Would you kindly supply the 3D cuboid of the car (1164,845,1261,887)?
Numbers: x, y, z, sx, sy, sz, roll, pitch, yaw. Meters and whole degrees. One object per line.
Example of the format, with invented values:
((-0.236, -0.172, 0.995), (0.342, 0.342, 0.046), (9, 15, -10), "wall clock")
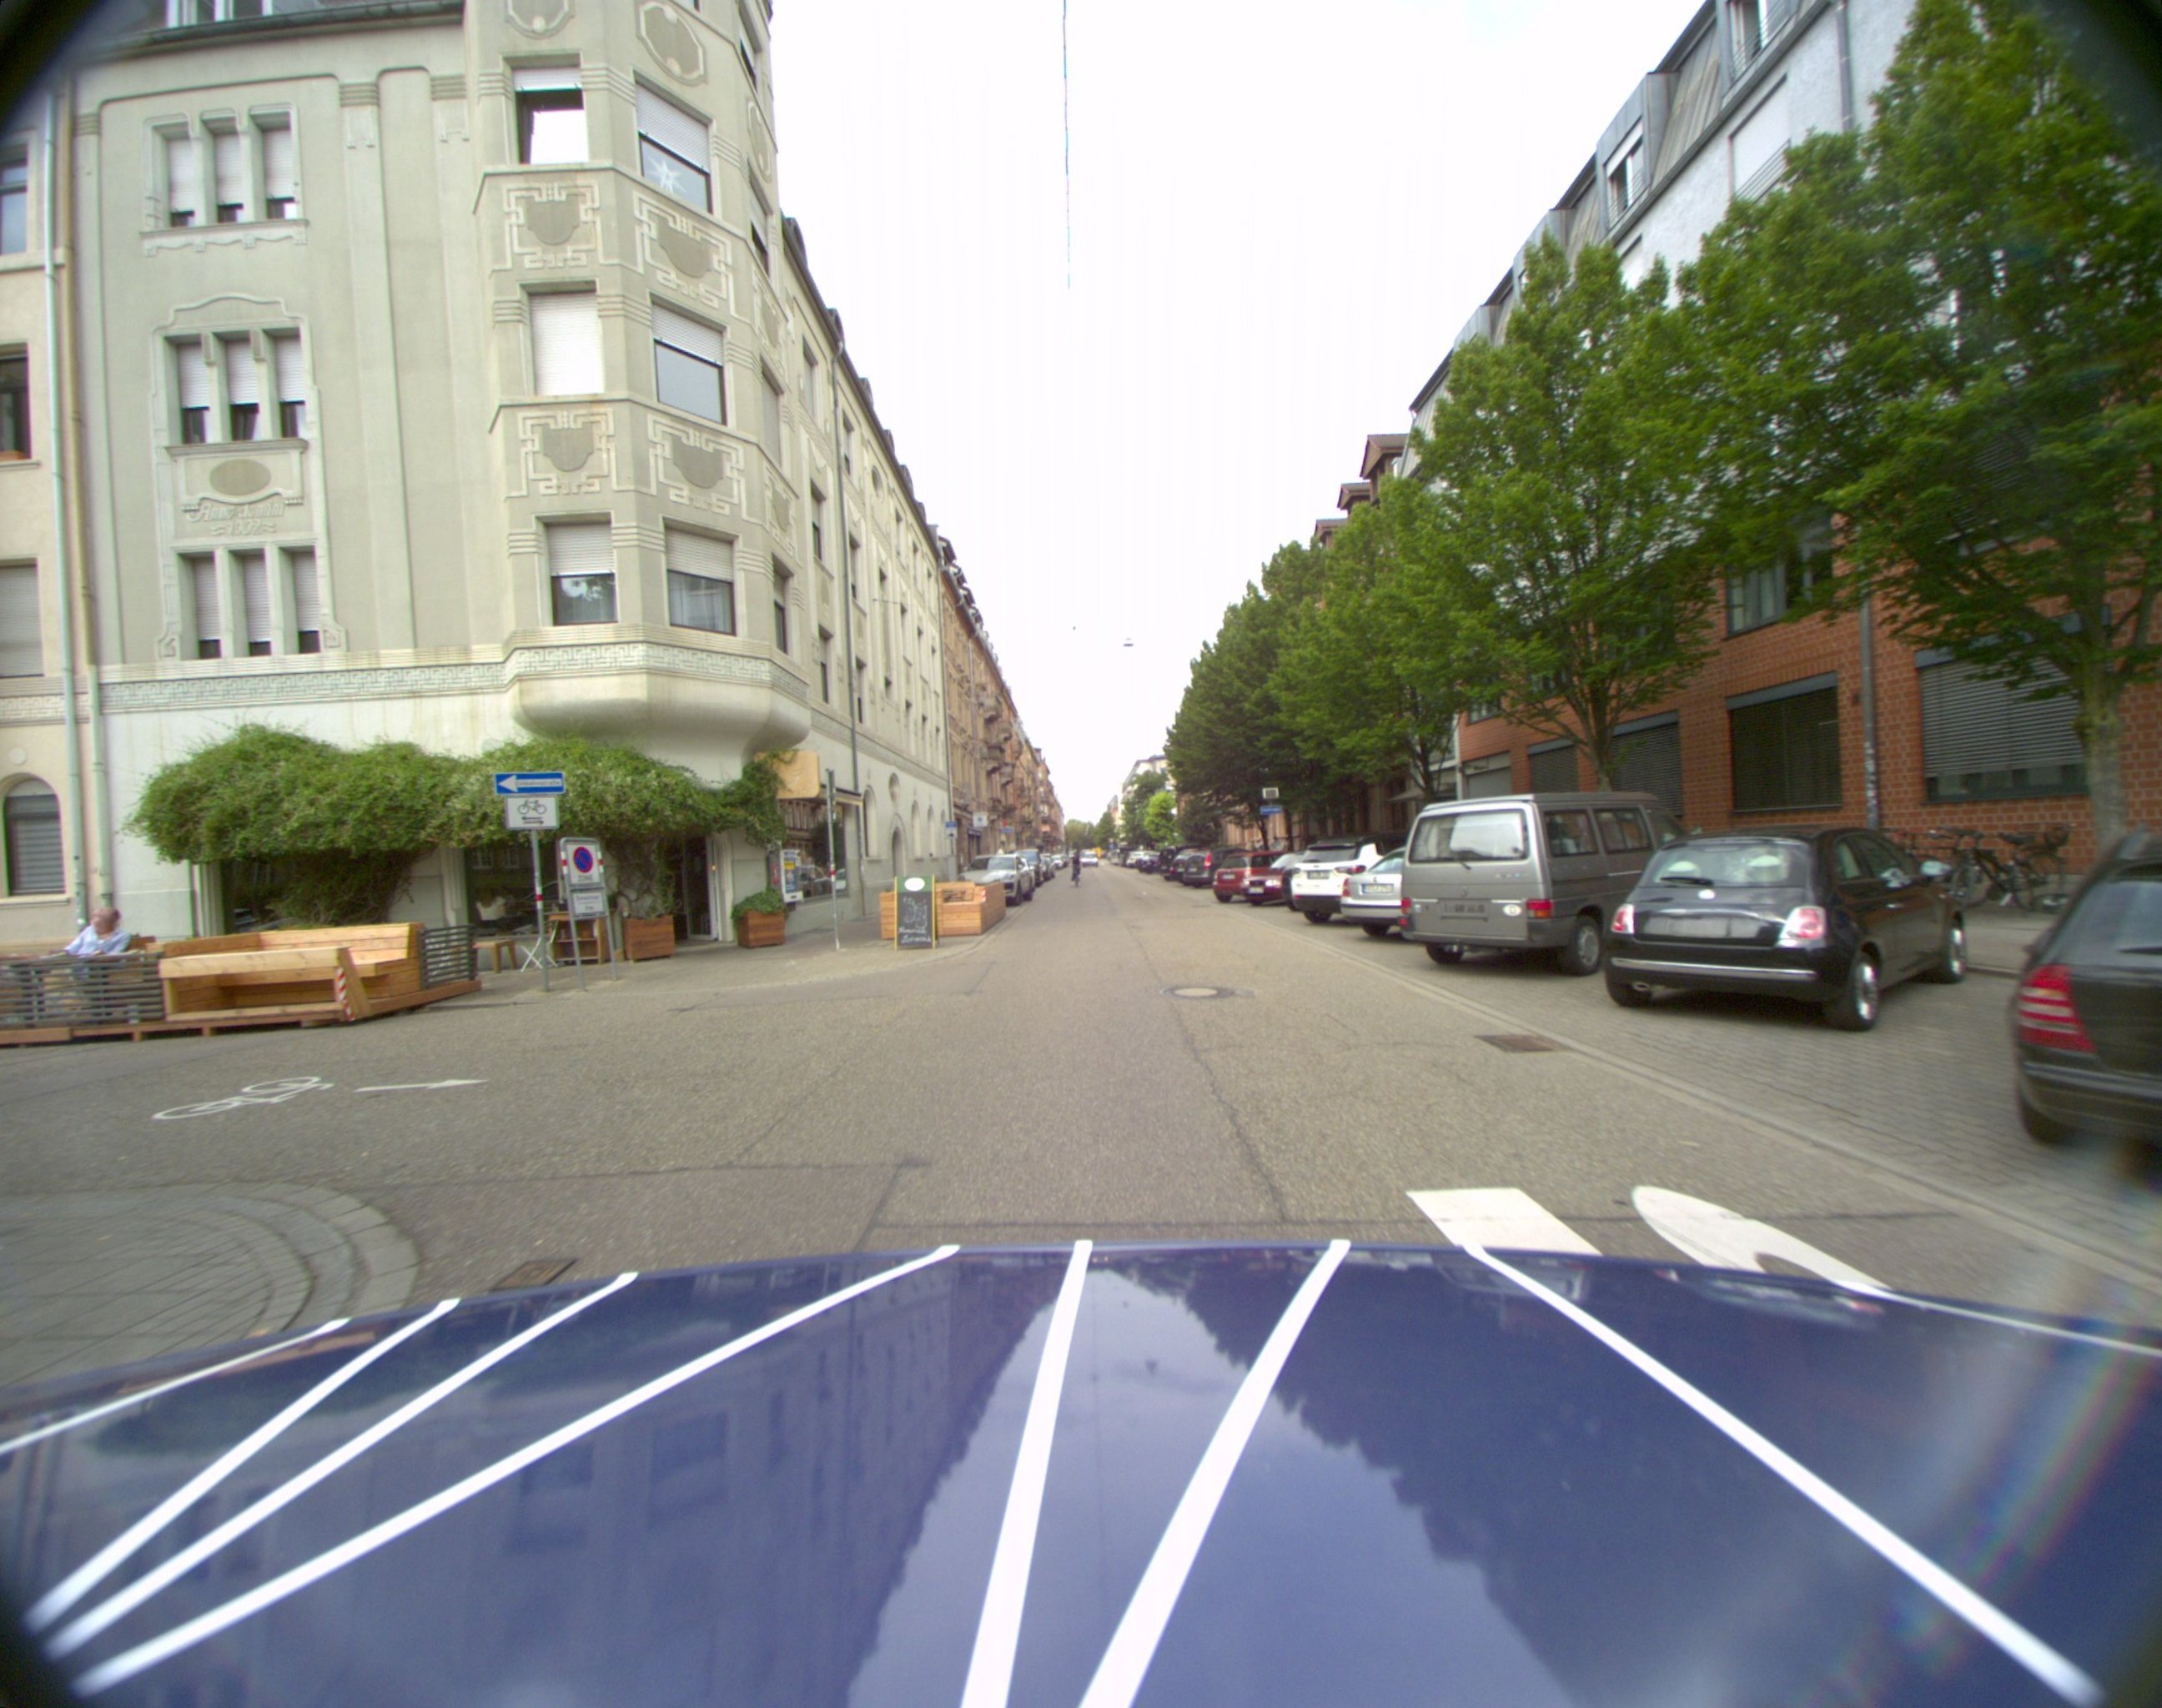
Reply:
((5.777, 0.518, 33.290), (4.012, 1.559, 1.687), (-4, 0, -33), "car")

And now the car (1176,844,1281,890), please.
((5.987, 0.520, 30.721), (4.012, 1.559, 1.687), (-4, 0, -33), "car")

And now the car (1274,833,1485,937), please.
((5.827, 0.526, 14.703), (4.012, 1.605, 1.709), (-4, 0, -33), "car")

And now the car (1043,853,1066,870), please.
((-2.569, 0.738, 74.792), (1.854, 1.505, 4.006), (-4, 0, 2), "car")

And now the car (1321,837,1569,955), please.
((5.816, 0.571, 12.008), (4.012, 1.438, 1.621), (-4, 0, -33), "car")

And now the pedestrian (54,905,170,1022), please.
((-13.197, 1.473, 10.372), (0.548, 1.452, 0.634), (-3, 4, 1), "pedestrian")

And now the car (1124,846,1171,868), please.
((6.204, 0.277, 70.844), (4.012, 1.746, 1.687), (-4, 0, -33), "car")

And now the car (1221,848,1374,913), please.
((5.824, 0.659, 20.287), (4.012, 1.381, 1.593), (-4, 0, -33), "car")

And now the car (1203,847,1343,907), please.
((5.720, 0.633, 22.500), (4.012, 1.445, 1.687), (-4, 0, -33), "car")

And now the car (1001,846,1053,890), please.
((-2.605, 0.653, 37.587), (1.853, 1.932, 4.007), (-4, 0, 4), "car")

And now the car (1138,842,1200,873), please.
((6.123, 0.233, 52.734), (4.012, 1.847, 1.687), (-4, 0, -33), "car")

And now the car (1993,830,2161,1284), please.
((5.869, 0.670, 3.449), (4.323, 1.461, 1.713), (-4, 1, -33), "car")

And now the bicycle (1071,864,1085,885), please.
((-0.135, 0.982, 36.423), (0.586, 0.927, 1.783), (-4, 0, 1), "bicycle")

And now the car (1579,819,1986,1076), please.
((6.325, 0.586, 6.729), (4.011, 1.502, 1.706), (-5, 1, -34), "car")

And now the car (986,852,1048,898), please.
((-2.594, 0.826, 31.560), (1.853, 1.662, 4.007), (-4, 0, 4), "car")

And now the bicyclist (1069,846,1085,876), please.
((-0.189, 0.317, 36.571), (0.649, 1.409, 1.094), (-3, 1, 1), "bicyclist")

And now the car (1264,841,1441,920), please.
((6.381, 0.567, 17.768), (4.012, 1.469, 1.755), (-4, 0, -33), "car")

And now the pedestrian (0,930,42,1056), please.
((-13.110, 1.675, 9.066), (0.548, 1.461, 0.560), (-3, 1, 1), "pedestrian")

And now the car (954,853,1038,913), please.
((-2.606, 0.850, 24.350), (1.853, 1.662, 4.007), (-4, 0, 4), "car")

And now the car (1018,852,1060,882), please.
((-2.444, 0.723, 45.029), (1.853, 1.568, 4.007), (-4, 0, 4), "car")

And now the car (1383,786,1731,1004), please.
((5.826, 0.329, 9.204), (4.011, 1.987, 1.857), (-5, 2, -30), "car")

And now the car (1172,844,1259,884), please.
((6.593, 0.463, 37.141), (4.012, 1.672, 1.687), (-4, 0, -33), "car")

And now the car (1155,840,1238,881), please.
((6.041, 0.321, 39.606), (4.051, 1.847, 1.687), (-4, 0, -33), "car")

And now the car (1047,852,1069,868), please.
((-2.499, 0.640, 81.825), (1.853, 1.505, 4.007), (-4, 0, 4), "car")

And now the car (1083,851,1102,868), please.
((1.415, 0.687, 91.825), (1.942, 1.913, 4.007), (-4, 0, 4), "car")
